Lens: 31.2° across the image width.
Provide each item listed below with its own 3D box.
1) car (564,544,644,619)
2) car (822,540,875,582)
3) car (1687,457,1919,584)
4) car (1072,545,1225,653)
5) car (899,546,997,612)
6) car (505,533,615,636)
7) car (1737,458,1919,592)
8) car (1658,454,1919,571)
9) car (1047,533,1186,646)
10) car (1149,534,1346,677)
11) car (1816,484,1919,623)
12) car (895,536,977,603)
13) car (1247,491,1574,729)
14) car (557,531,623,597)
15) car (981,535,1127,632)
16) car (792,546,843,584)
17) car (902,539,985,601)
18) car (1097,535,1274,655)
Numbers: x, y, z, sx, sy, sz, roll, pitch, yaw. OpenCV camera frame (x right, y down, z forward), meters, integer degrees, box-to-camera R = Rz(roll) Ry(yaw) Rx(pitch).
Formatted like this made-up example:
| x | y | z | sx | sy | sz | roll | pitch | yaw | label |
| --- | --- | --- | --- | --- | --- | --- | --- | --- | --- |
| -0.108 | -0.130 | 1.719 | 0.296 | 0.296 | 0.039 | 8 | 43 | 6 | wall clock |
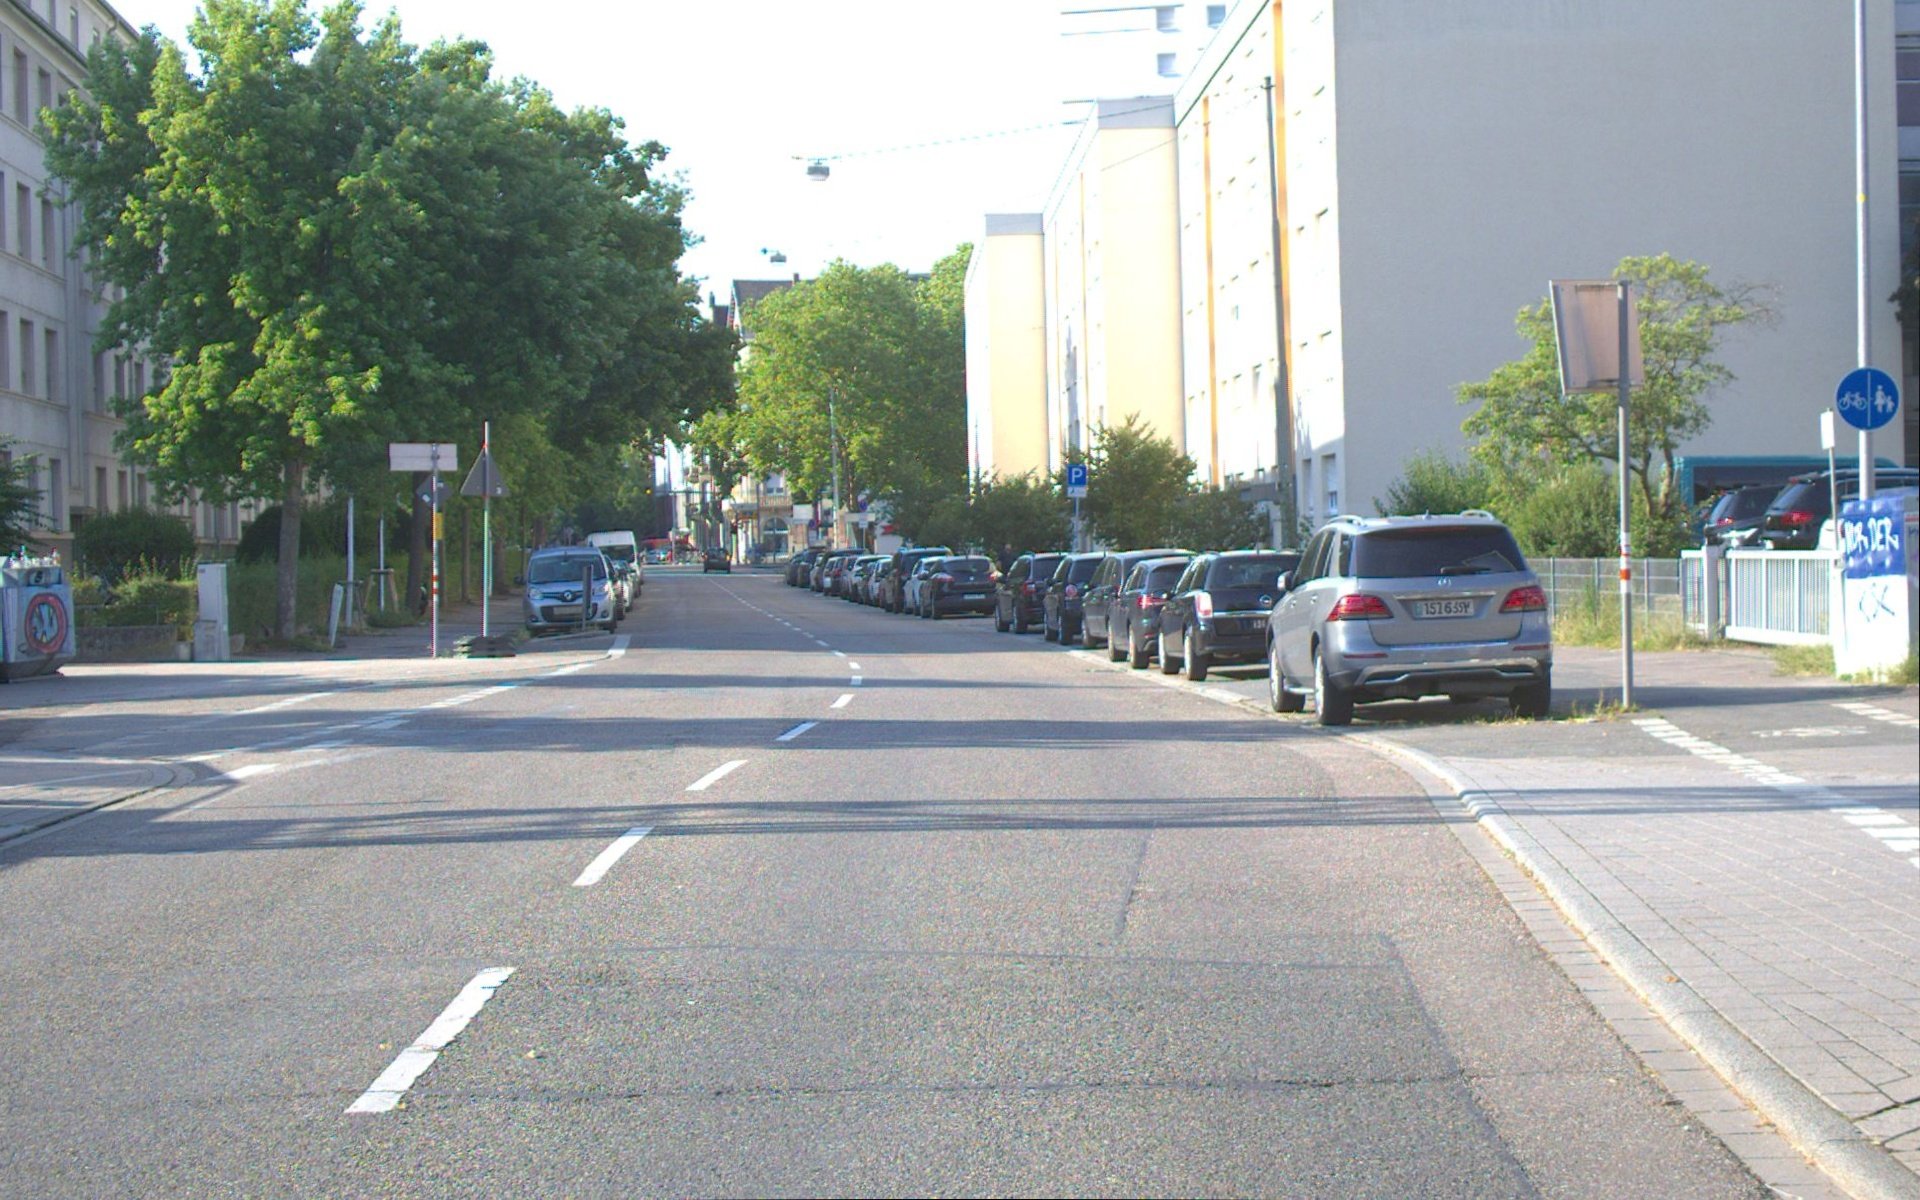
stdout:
| x | y | z | sx | sy | sz | roll | pitch | yaw | label |
| --- | --- | --- | --- | --- | --- | --- | --- | --- | --- |
| -8.795 | -0.436 | 84.617 | 1.873 | 1.753 | 4.690 | 1 | 0 | -7 | car |
| -4.283 | -1.478 | 131.617 | 1.837 | 1.496 | 4.172 | 1 | 0 | -4 | car |
| 13.033 | -1.156 | 51.051 | 3.986 | 1.788 | 2.000 | 1 | 0 | -3 | car |
| 2.800 | -0.044 | 51.895 | 1.650 | 1.431 | 3.961 | -1 | 2 | -6 | car |
| -0.317 | -0.480 | 82.125 | 1.798 | 1.502 | 4.622 | -1 | 0 | -7 | car |
| -8.026 | -0.297 | 69.289 | 1.841 | 1.890 | 4.487 | 4 | -1 | -4 | car |
| 13.157 | -1.017 | 48.199 | 3.986 | 1.788 | 2.000 | 1 | 0 | -4 | car |
| 13.554 | -1.400 | 55.735 | 3.986 | 1.788 | 2.000 | 1 | 0 | -4 | car |
| 2.554 | -0.150 | 57.087 | 1.901 | 1.773 | 4.582 | 1 | 0 | -2 | car |
| 3.363 | 0.074 | 40.964 | 1.741 | 1.535 | 4.440 | -2 | 0 | -2 | car |
| 13.670 | -0.580 | 45.724 | 3.986 | 1.788 | 2.000 | 1 | 0 | -4 | car |
| -0.672 | -0.800 | 93.380 | 1.771 | 1.672 | 4.647 | 3 | 0 | -5 | car |
| 3.834 | 0.092 | 30.110 | 1.921 | 1.773 | 4.811 | -4 | 0 | -2 | car |
| -14.337 | -1.355 | 133.444 | 2.357 | 2.437 | 6.165 | 1 | 0 | -5 | car |
| 1.718 | -0.300 | 64.444 | 1.886 | 1.556 | 4.947 | -6 | 1 | -7 | car |
| -6.439 | -1.581 | 155.010 | 1.897 | 1.645 | 4.344 | 0 | 1 | -8 | car |
| -0.448 | -0.755 | 88.139 | 1.771 | 1.503 | 4.001 | 1 | 0 | -5 | car |
| 3.038 | -0.054 | 47.148 | 1.901 | 1.524 | 4.811 | 1 | 0 | -2 | car |
